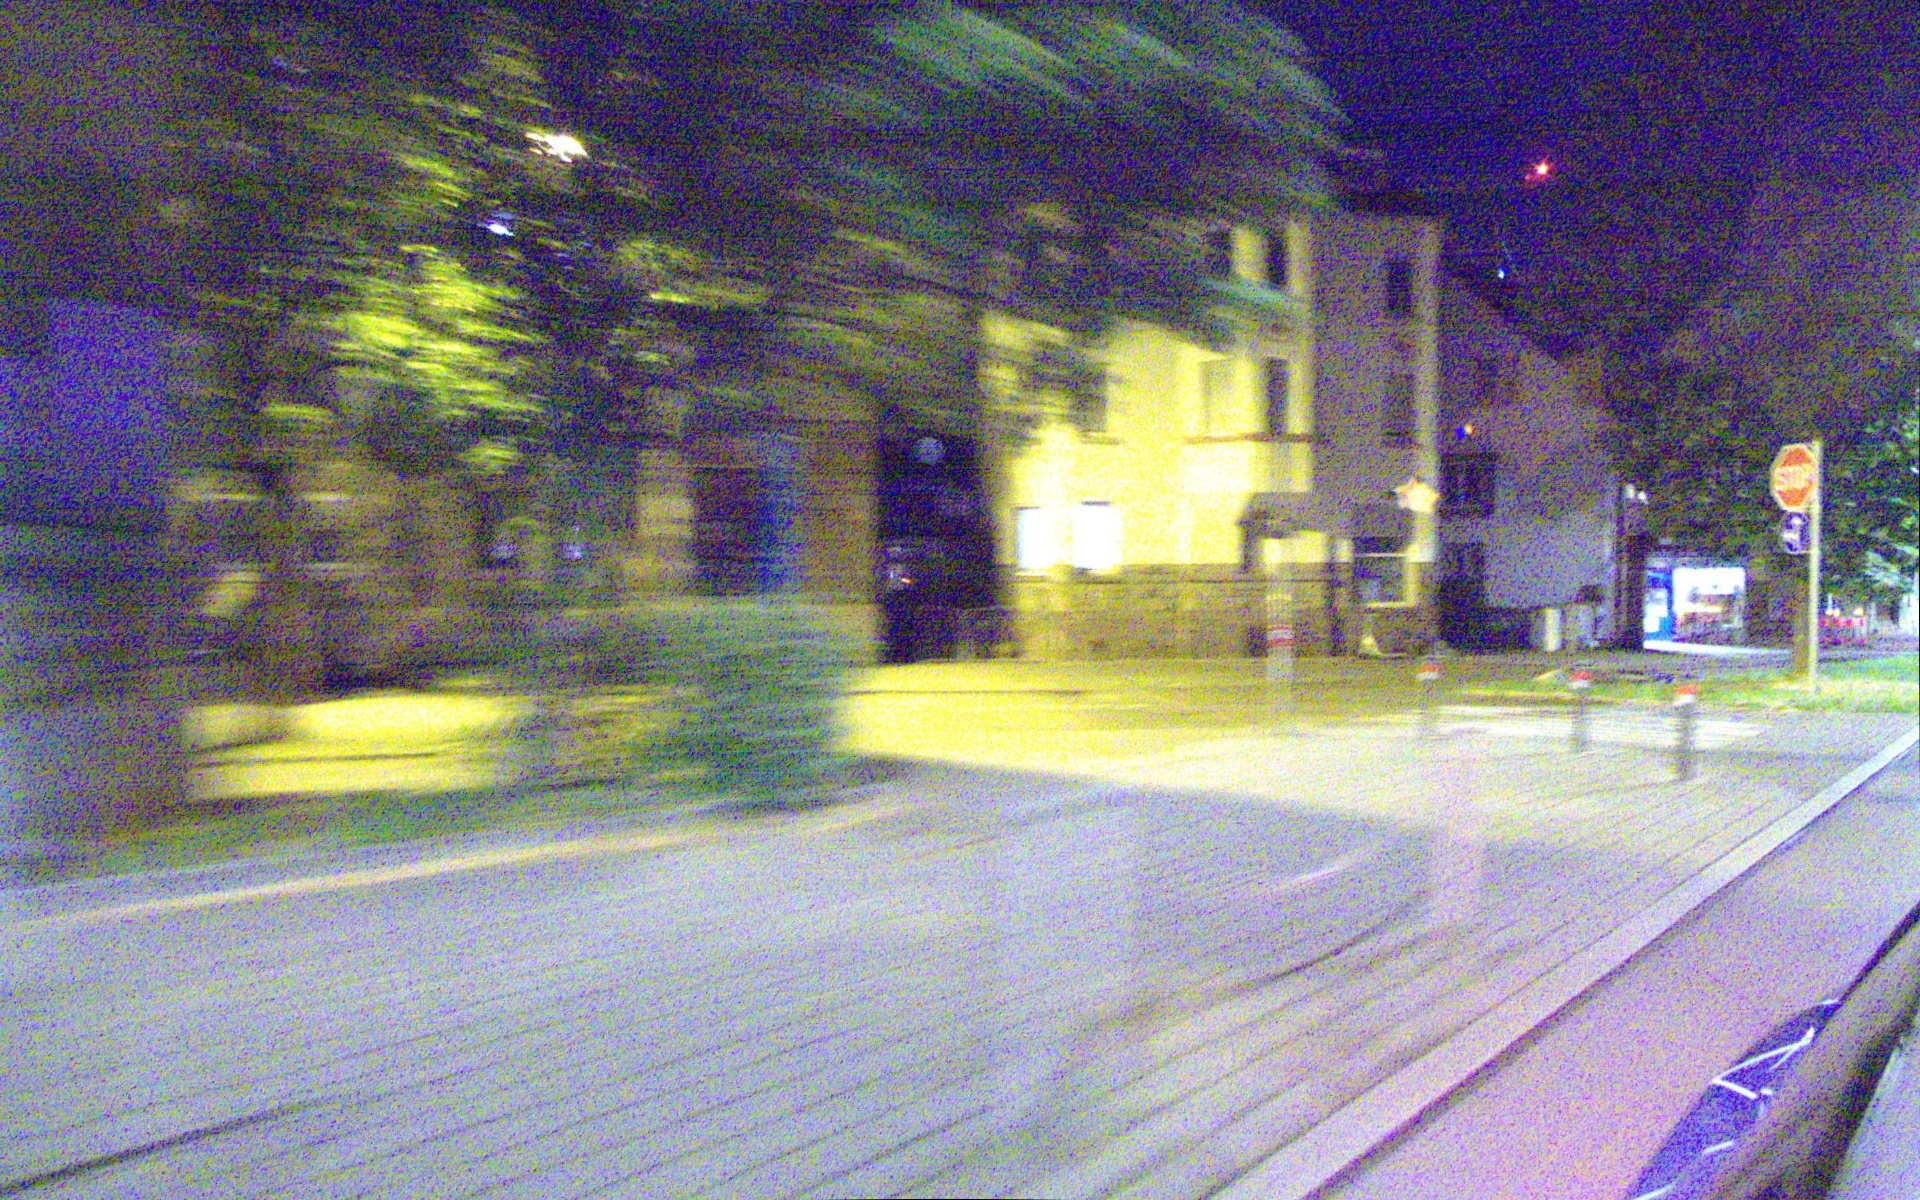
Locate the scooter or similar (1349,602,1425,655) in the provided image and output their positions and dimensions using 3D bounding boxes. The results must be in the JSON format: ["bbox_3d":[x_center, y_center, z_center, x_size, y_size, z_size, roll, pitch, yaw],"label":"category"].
[{"bbox_3d":[9.832,0.638,23.330,1.631,1.159,0.502,0,3,-16],"label":"scooter or similar"}]

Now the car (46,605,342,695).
[{"bbox_3d":[-13.182,0.831,17.607,3.762,1.435,1.803,0,0,-3],"label":"car"}]
